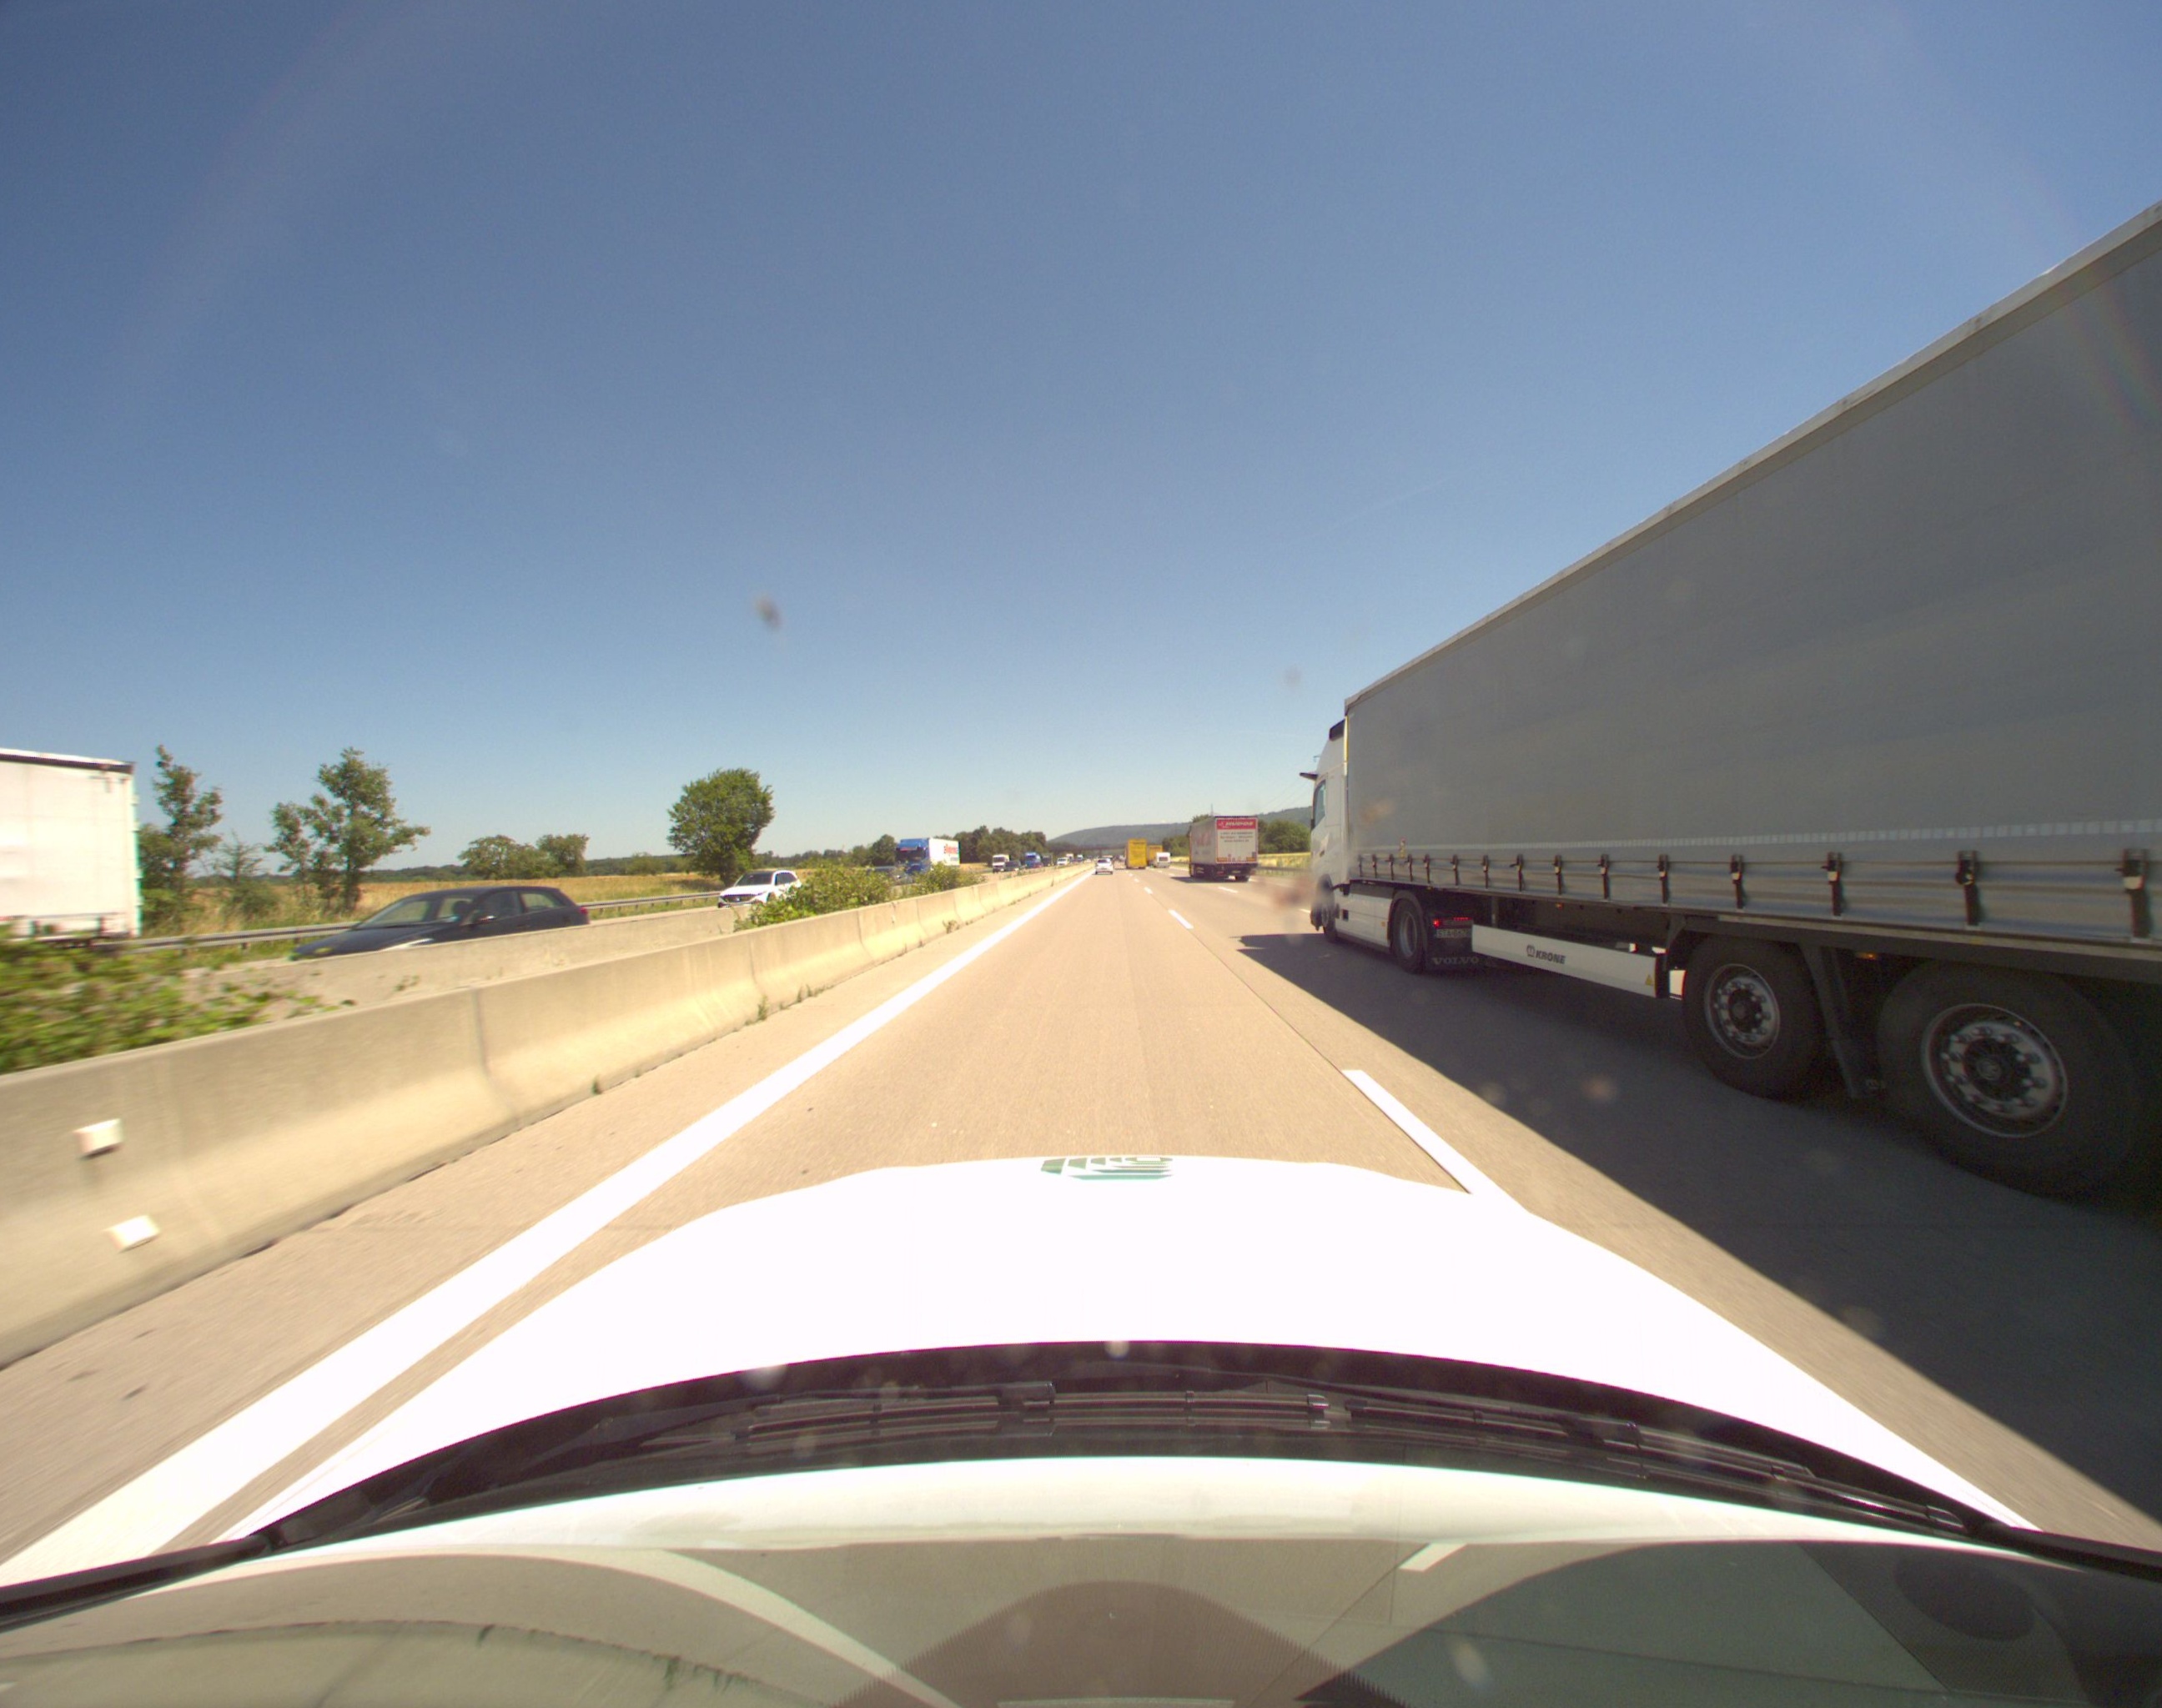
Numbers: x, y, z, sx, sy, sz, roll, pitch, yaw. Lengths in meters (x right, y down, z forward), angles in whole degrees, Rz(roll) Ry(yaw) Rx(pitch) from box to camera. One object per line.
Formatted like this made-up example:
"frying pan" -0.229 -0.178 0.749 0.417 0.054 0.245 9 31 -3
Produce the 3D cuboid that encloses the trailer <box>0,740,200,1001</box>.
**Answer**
"trailer" -17.286 0.237 7.599 2.760 3.802 13.834 0 0 2

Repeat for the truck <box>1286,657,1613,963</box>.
"truck" 5.591 -0.587 13.558 2.975 4.062 5.477 0 0 0

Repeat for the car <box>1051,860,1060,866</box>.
"car" -6.176 2.089 196.301 1.713 1.448 4.710 0 0 2

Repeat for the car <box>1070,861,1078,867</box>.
"car" -1.553 2.276 193.320 1.773 1.348 4.453 1 0 1

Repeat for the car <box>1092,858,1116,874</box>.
"car" 2.253 1.126 78.869 2.098 1.536 4.126 0 0 3

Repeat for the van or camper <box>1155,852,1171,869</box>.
"van or camper" 12.557 1.011 125.135 2.216 2.531 5.433 0 0 2

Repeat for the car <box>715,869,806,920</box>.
"car" -12.213 1.478 31.374 1.769 1.723 4.628 0 0 -1

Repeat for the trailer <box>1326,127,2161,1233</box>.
"trailer" 5.515 -0.631 6.498 3.007 4.061 14.207 0 0 1

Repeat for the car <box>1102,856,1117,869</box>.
"car" 4.227 1.241 120.558 2.245 2.013 4.301 0 0 3

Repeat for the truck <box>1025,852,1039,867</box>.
"truck" -10.486 1.160 175.533 2.475 3.309 5.265 0 0 1

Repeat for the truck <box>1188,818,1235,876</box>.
"truck" 9.748 -0.483 61.449 2.894 4.101 6.276 0 0 3

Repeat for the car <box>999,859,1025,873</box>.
"car" -6.477 1.107 76.994 1.891 1.326 5.071 0 0 2

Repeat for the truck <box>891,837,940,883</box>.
"truck" -14.287 0.486 70.769 2.886 3.864 5.687 0 0 2

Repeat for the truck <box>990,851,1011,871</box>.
"truck" -12.544 1.123 127.475 2.313 3.084 6.981 0 0 2

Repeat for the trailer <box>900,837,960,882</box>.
"trailer" -14.048 0.503 77.018 2.897 3.909 12.515 0 0 2

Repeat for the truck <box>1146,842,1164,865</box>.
"truck" 14.040 -0.103 154.549 2.987 4.314 9.689 0 0 2

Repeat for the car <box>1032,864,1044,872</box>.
"car" -7.635 2.487 143.991 1.682 1.459 4.489 0 0 2

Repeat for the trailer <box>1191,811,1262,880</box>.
"trailer" 9.515 -0.498 54.908 2.863 4.100 13.519 0 0 2

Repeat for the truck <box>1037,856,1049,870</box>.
"truck" -10.218 2.459 220.380 2.545 3.512 7.888 -3 0 2

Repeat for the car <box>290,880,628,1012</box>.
"car" -8.742 1.189 12.004 1.721 1.484 4.119 0 0 2

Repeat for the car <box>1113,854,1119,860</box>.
"car" 10.262 0.867 236.261 1.777 1.881 4.002 0 0 2

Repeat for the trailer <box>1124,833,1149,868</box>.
"trailer" 7.779 -0.451 115.545 3.203 4.563 13.464 0 0 2

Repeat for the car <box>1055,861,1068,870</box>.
"car" -3.794 2.130 158.237 2.130 1.679 5.647 0 0 2

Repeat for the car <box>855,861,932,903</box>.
"car" -7.792 1.108 34.380 1.916 1.608 5.076 0 0 2
